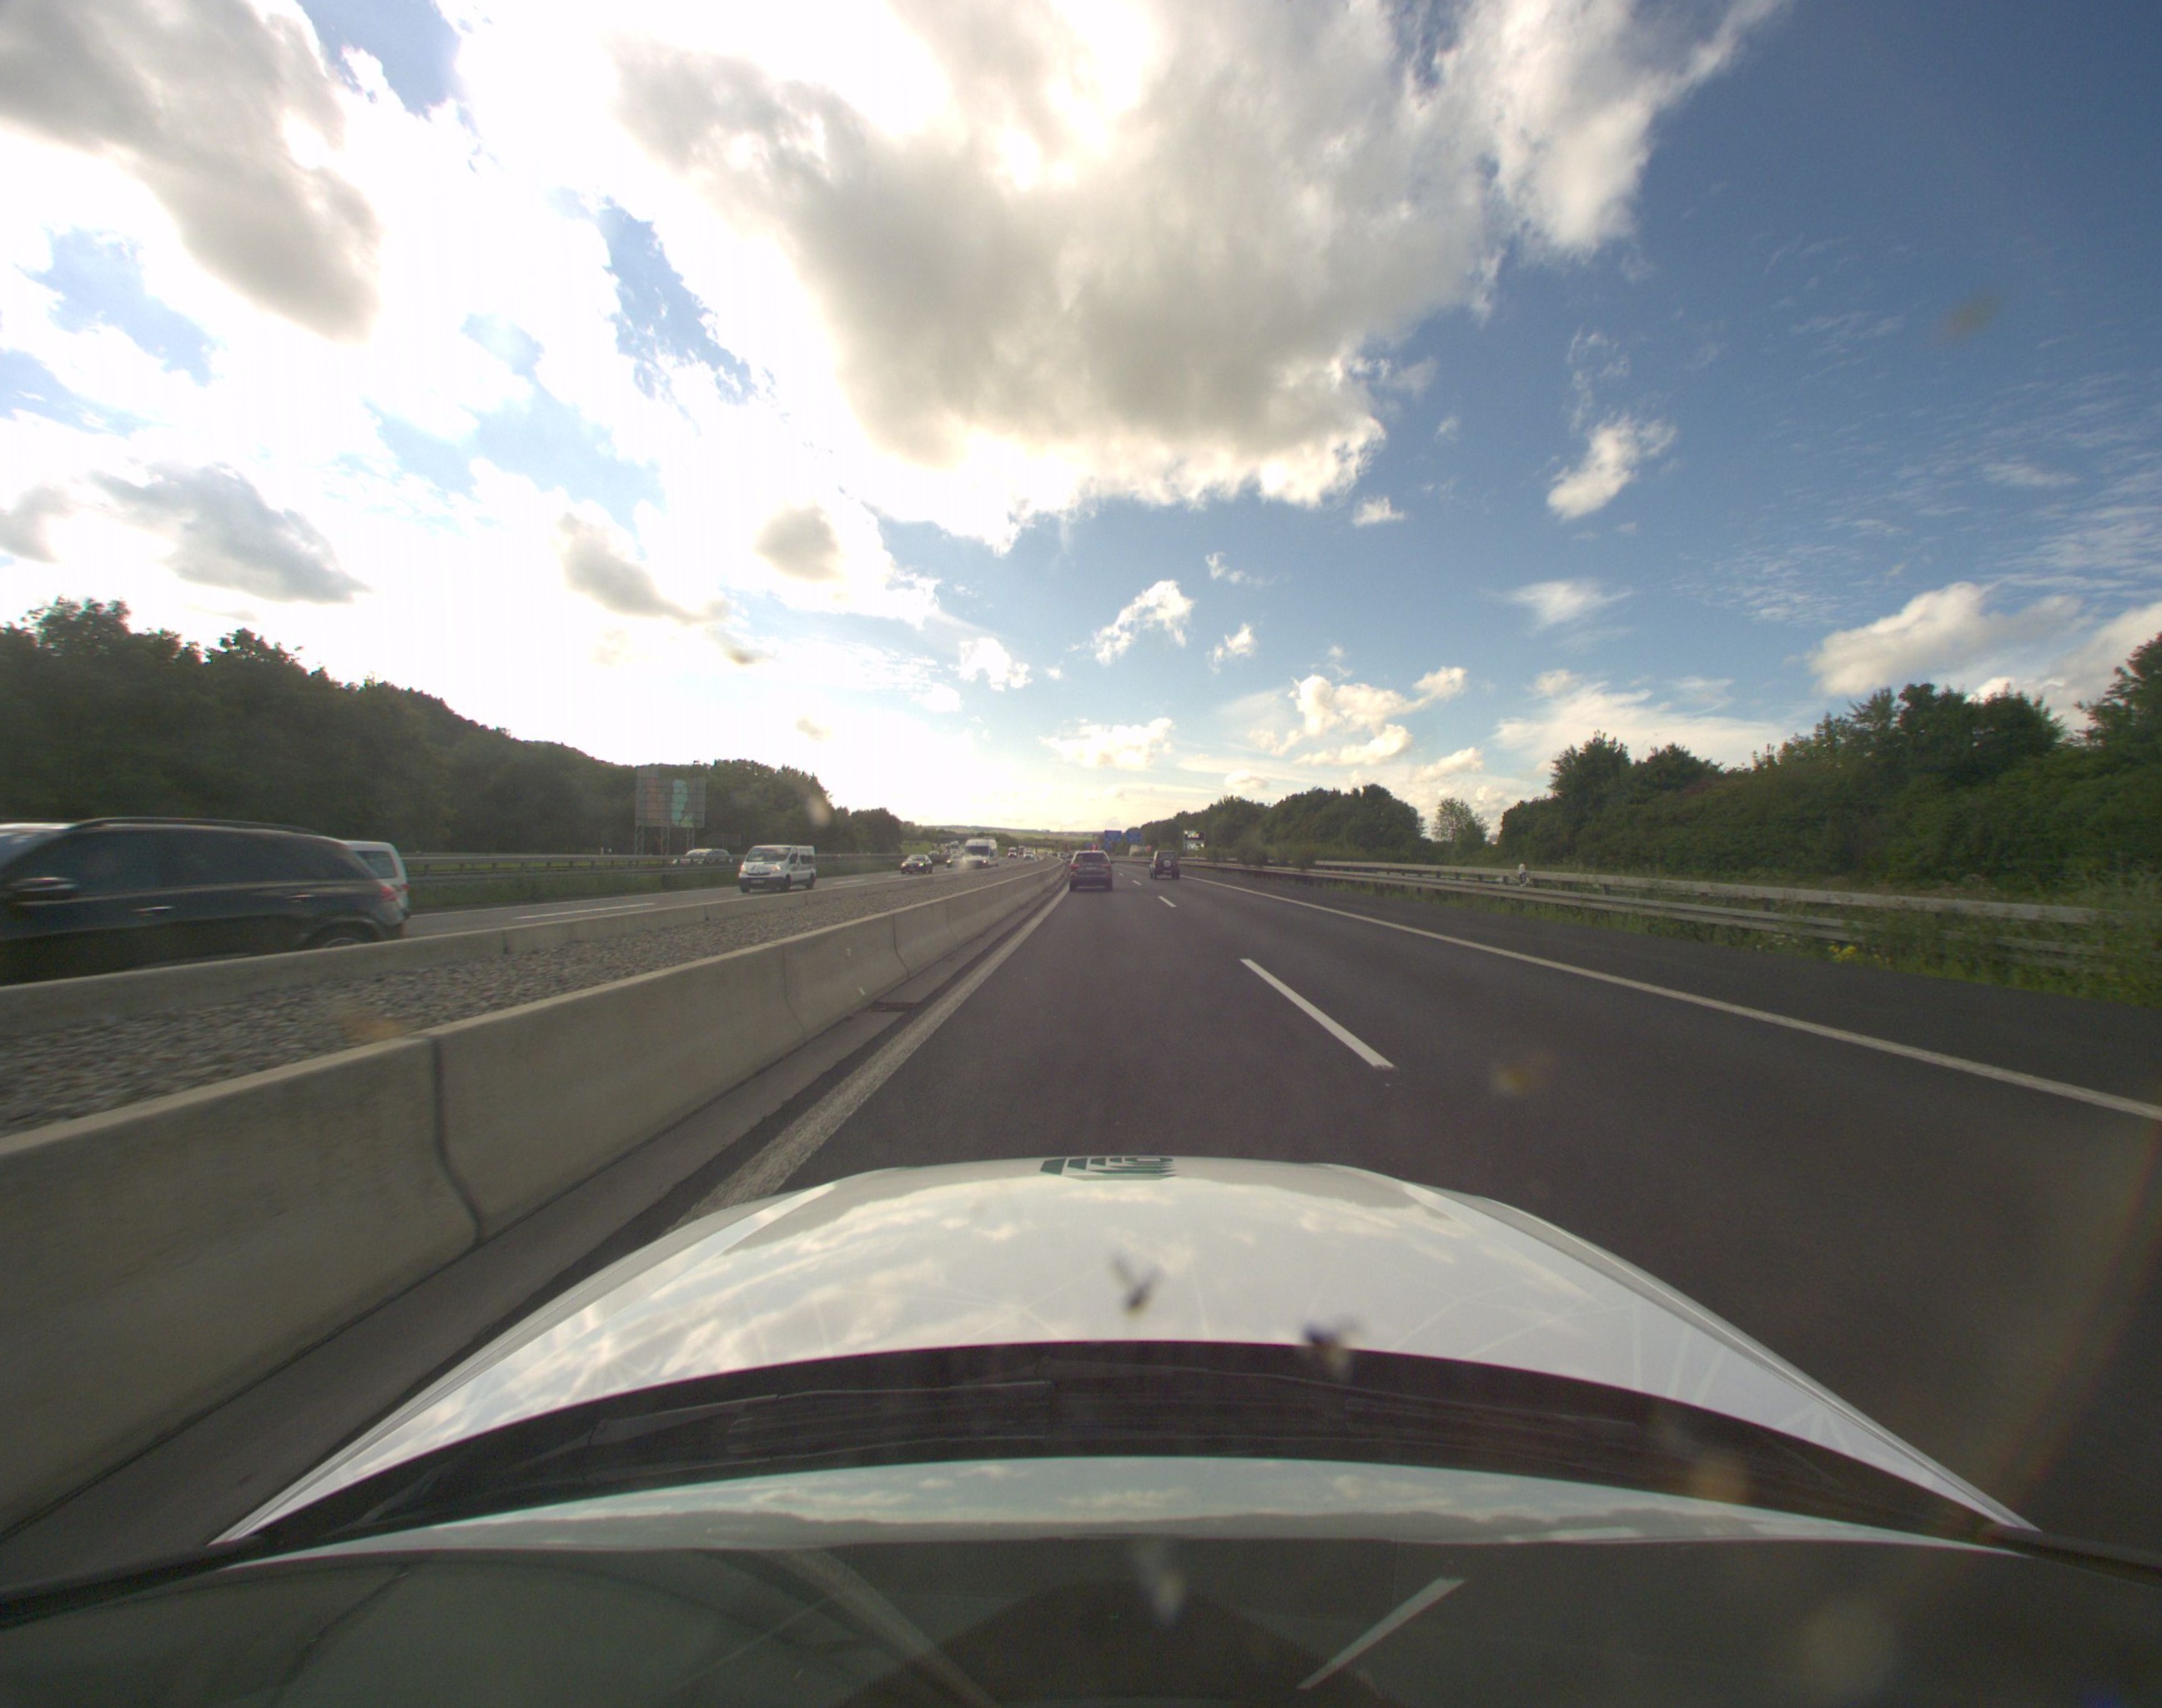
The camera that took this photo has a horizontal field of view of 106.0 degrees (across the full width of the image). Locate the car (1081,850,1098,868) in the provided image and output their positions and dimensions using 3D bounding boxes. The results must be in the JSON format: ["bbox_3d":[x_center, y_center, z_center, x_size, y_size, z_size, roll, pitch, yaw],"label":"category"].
[{"bbox_3d":[1.093,0.580,99.215,2.023,2.151,4.001,0,0,1],"label":"car"}]

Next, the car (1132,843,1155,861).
[{"bbox_3d":[15.816,-0.423,208.430,4.716,4.266,11.394,0,-2,-2],"label":"car"}]

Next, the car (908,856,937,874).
[{"bbox_3d":[-12.918,0.879,66.654,1.782,1.417,4.987,0,0,-5],"label":"car"}]

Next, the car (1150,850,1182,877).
[{"bbox_3d":[5.199,0.549,50.234,1.581,1.597,4.096,0,0,1],"label":"car"}]

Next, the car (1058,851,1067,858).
[{"bbox_3d":[-4.805,0.127,211.071,1.989,1.684,3.994,0,-2,-3],"label":"car"}]

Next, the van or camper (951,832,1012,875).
[{"bbox_3d":[-7.154,-0.009,59.745,3.323,2.916,7.468,1,0,1],"label":"van or camper"}]

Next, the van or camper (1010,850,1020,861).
[{"bbox_3d":[-16.378,0.283,202.010,1.981,2.624,6.858,0,0,-2],"label":"van or camper"}]

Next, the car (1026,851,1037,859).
[{"bbox_3d":[-10.107,0.226,166.495,1.837,1.611,5.134,0,0,-1],"label":"car"}]

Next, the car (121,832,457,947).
[{"bbox_3d":[-14.169,0.565,15.019,1.987,1.814,4.241,0,0,1],"label":"car"}]

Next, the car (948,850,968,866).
[{"bbox_3d":[-13.581,0.397,90.179,1.721,1.699,4.149,0,0,-2],"label":"car"}]

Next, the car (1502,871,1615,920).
[{"bbox_3d":[17.120,1.430,29.409,1.778,1.571,4.025,0,0,1],"label":"car"}]

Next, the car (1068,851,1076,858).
[{"bbox_3d":[-2.778,0.163,249.362,1.991,1.929,3.991,0,-2,-6],"label":"car"}]

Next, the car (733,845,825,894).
[{"bbox_3d":[-12.792,0.631,34.877,1.908,1.906,5.286,-1,0,0],"label":"car"}]

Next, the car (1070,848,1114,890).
[{"bbox_3d":[0.463,0.647,36.415,1.812,1.736,5.186,0,-1,0],"label":"car"}]

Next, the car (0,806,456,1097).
[{"bbox_3d":[-8.077,0.635,6.517,1.985,1.920,5.152,1,0,3],"label":"car"}]
